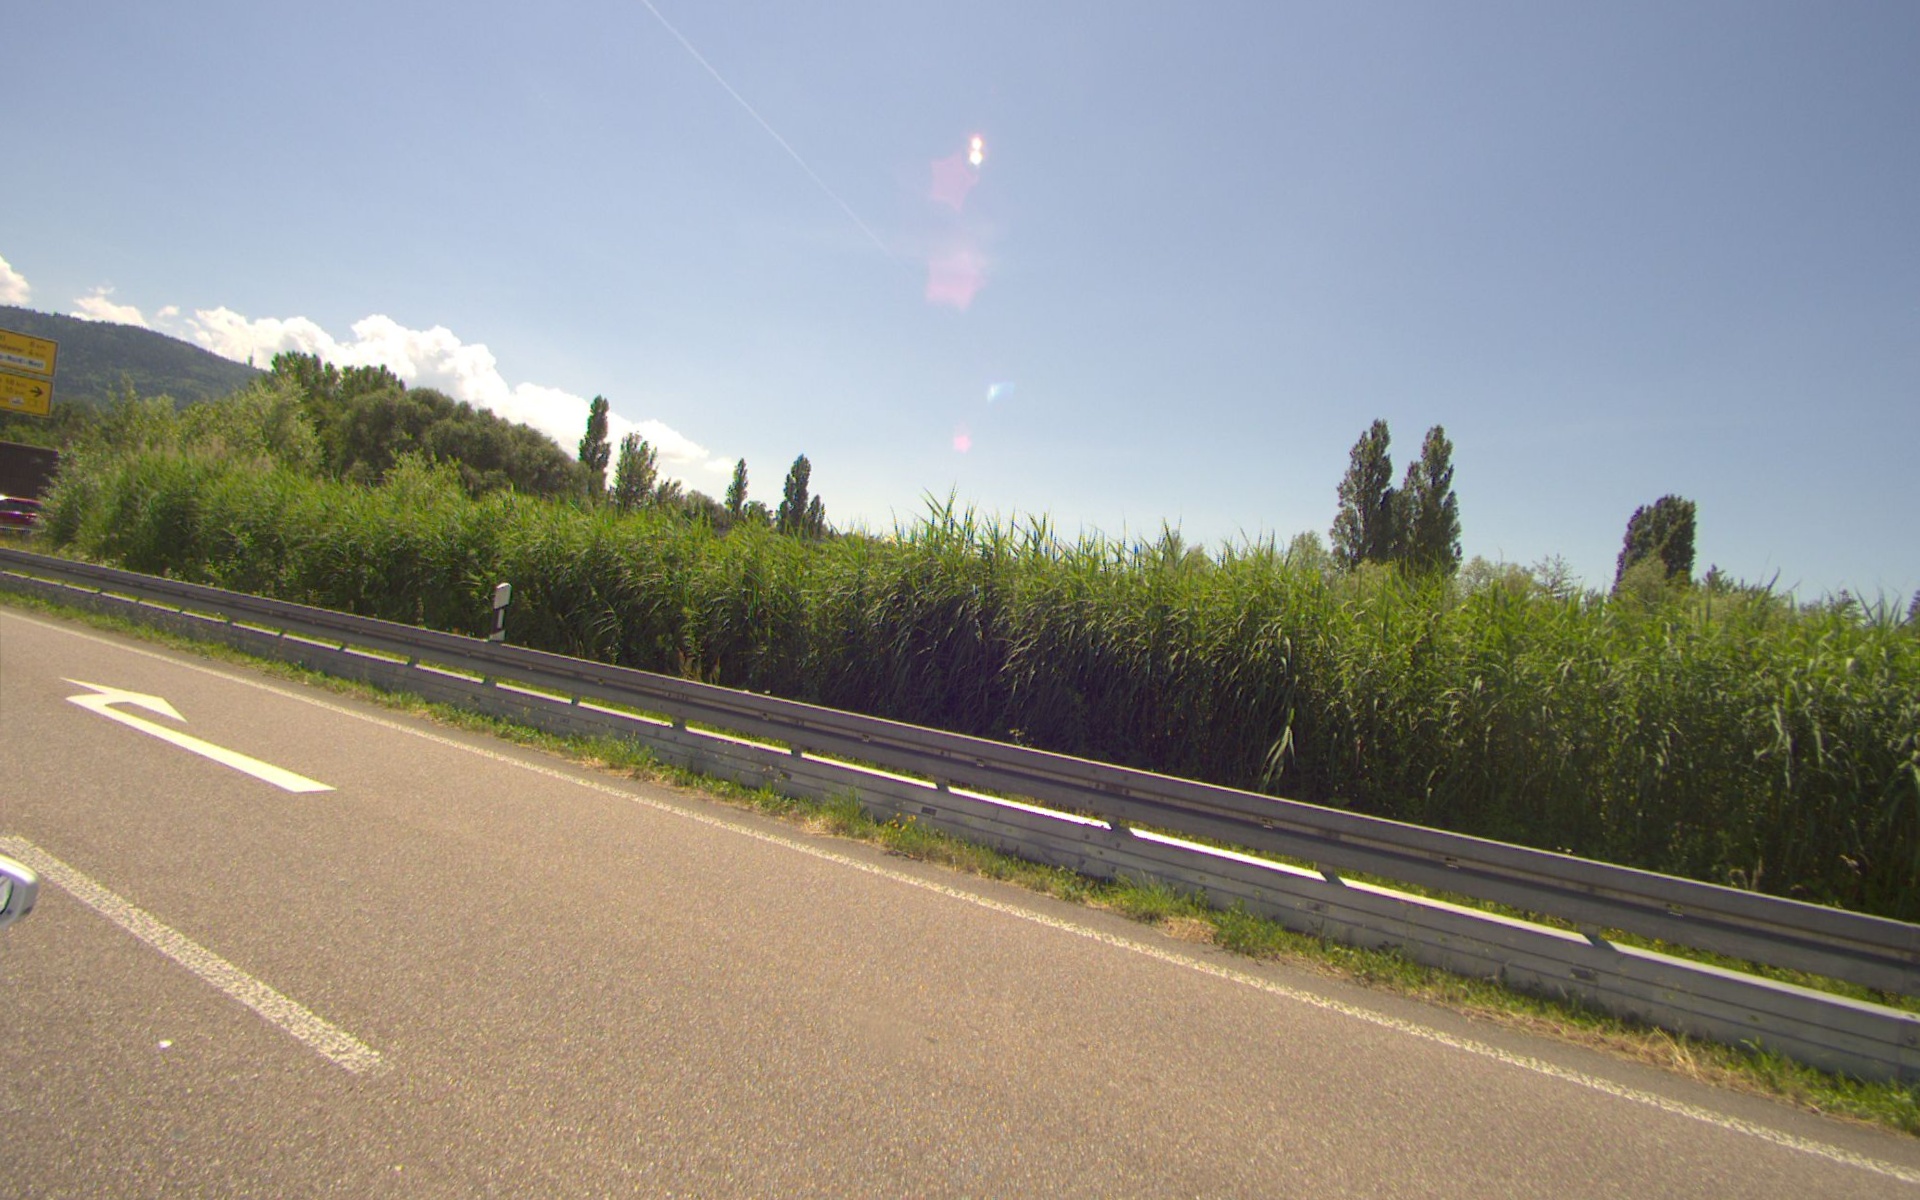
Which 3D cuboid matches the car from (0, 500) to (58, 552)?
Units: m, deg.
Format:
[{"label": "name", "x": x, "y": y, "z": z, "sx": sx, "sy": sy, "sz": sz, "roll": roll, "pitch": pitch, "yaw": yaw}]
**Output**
[{"label": "car", "x": -36.313, "y": -2.962, "z": 36.887, "sx": 1.966, "sy": 1.676, "sz": 4.320, "roll": 7, "pitch": -2, "yaw": 28}]
